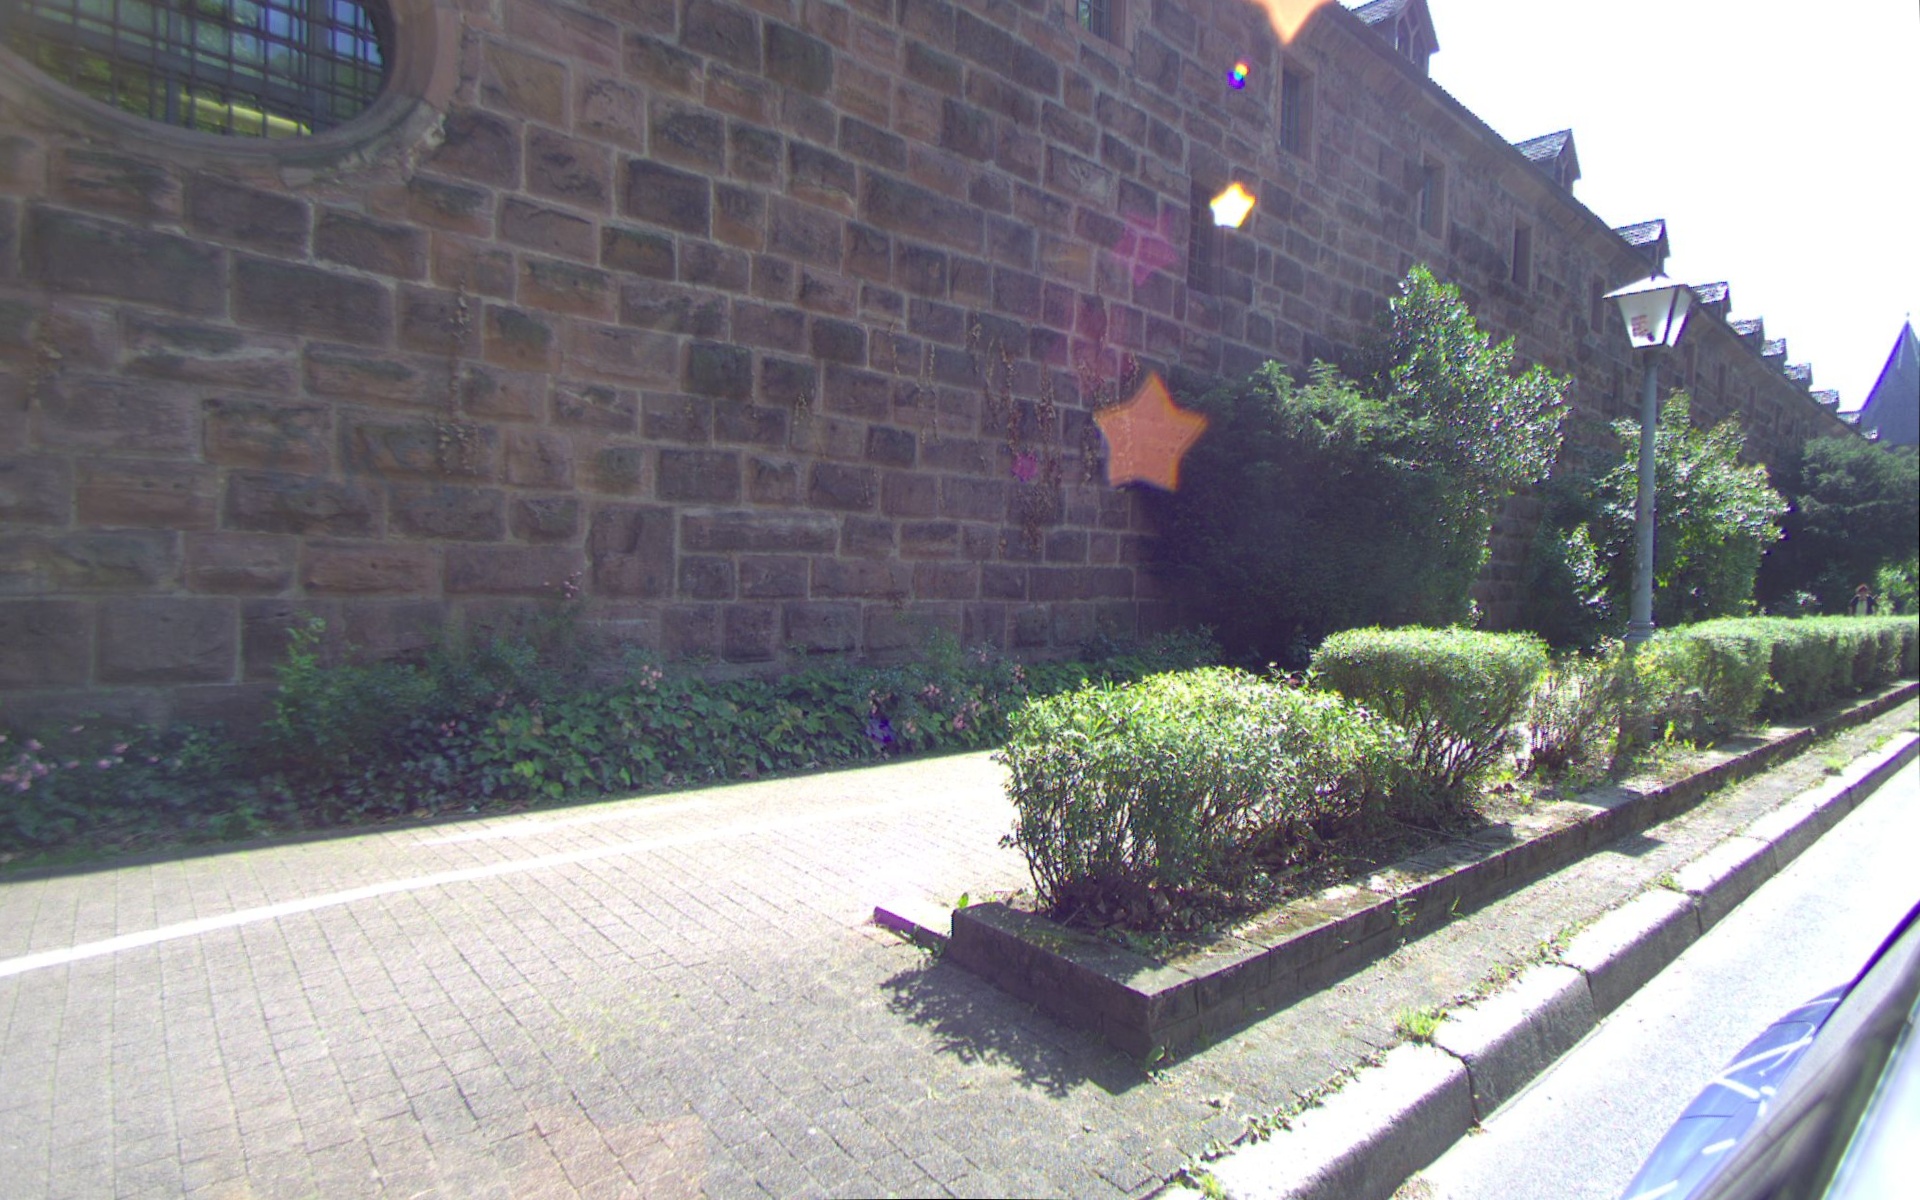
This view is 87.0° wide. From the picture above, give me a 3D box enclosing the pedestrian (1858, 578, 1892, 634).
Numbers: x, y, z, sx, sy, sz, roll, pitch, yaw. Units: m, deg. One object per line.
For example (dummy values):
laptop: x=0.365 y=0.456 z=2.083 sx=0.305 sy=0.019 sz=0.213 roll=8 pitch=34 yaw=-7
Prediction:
pedestrian: x=26.091 y=0.169 z=28.853 sx=0.554 sy=1.583 sz=0.642 roll=0 pitch=0 yaw=-41
